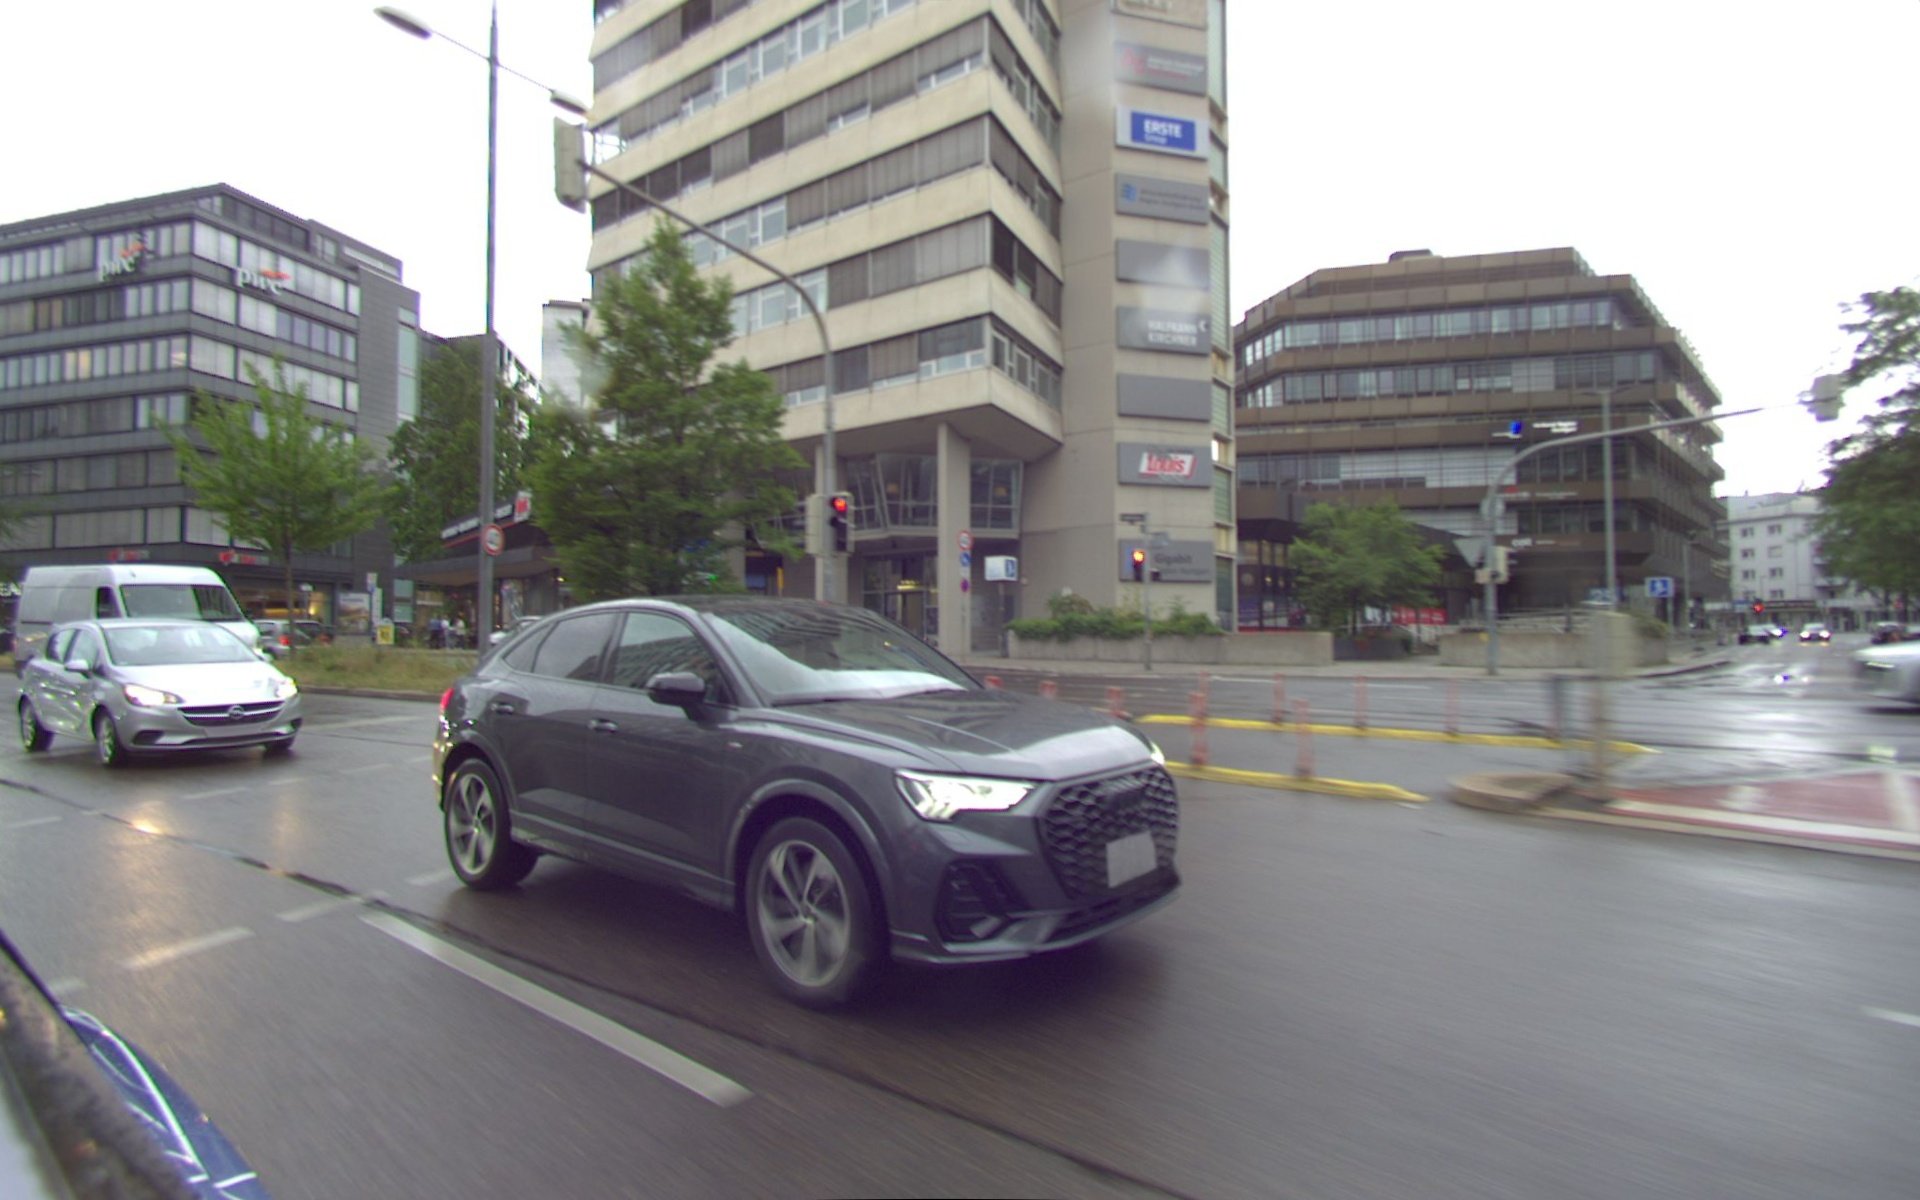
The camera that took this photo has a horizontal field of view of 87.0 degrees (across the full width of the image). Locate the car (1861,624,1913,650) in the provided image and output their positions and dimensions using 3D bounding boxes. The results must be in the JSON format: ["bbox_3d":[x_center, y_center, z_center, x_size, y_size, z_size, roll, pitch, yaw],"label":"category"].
[{"bbox_3d":[60.131,2.398,65.723,1.785,1.608,3.846,-1,-1,32],"label":"car"}]

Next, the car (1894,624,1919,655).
[{"bbox_3d":[53.797,2.193,56.988,1.703,1.662,3.853,0,-1,42],"label":"car"}]

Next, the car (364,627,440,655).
[{"bbox_3d":[-33.252,2.446,60.408,1.834,1.597,3.743,-1,-1,17],"label":"car"}]

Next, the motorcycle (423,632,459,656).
[{"bbox_3d":[-27.025,2.296,52.688,1.641,1.242,0.361,0,-1,-20],"label":"motorcycle"}]

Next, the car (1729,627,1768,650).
[{"bbox_3d":[58.350,2.826,74.851,3.941,1.641,1.784,1,-1,-45],"label":"car"}]

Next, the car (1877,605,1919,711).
[{"bbox_3d":[16.193,0.794,13.870,5.189,1.521,1.796,-2,-3,38],"label":"car"}]

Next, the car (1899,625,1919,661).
[{"bbox_3d":[42.281,1.866,44.185,1.694,1.483,3.946,0,-1,40],"label":"car"}]

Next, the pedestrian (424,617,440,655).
[{"bbox_3d":[-25.270,1.715,48.422,0.404,1.785,0.549,-1,-2,39],"label":"pedestrian"}]

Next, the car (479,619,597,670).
[{"bbox_3d":[-14.281,1.468,34.257,3.697,1.583,1.630,0,-1,25],"label":"car"}]

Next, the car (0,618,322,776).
[{"bbox_3d":[-8.845,0.936,11.125,3.863,1.447,1.635,-1,-1,33],"label":"car"}]

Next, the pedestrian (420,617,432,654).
[{"bbox_3d":[-25.911,1.720,49.115,0.437,1.785,0.324,-1,-2,38],"label":"pedestrian"}]

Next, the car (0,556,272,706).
[{"bbox_3d":[-15.322,0.548,18.762,5.453,2.459,1.934,-1,-1,28],"label":"car"}]

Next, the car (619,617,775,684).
[{"bbox_3d":[-6.800,1.252,26.040,4.075,1.593,1.630,-1,-2,34],"label":"car"}]

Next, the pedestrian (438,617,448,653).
[{"bbox_3d":[-25.617,1.731,50.160,0.357,1.785,0.324,-1,-2,39],"label":"pedestrian"}]

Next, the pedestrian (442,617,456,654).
[{"bbox_3d":[-24.715,1.724,48.936,0.469,1.785,0.423,-1,-2,39],"label":"pedestrian"}]

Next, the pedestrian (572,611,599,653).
[{"bbox_3d":[-15.076,1.287,40.751,0.755,1.696,0.677,0,-2,9],"label":"pedestrian"}]

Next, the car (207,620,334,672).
[{"bbox_3d":[-20.660,1.336,30.291,3.854,1.396,1.678,0,-1,31],"label":"car"}]

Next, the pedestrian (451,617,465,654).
[{"bbox_3d":[-24.562,1.731,49.501,0.469,1.785,0.423,-1,-2,39],"label":"pedestrian"}]

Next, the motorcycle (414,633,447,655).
[{"bbox_3d":[-28.899,2.408,55.248,1.598,1.153,0.361,1,-2,-29],"label":"motorcycle"}]

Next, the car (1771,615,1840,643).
[{"bbox_3d":[64.826,2.218,77.636,3.998,2.029,1.973,0,-1,41],"label":"car"}]

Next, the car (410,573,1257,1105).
[{"bbox_3d":[-0.926,0.726,4.933,4.267,1.533,1.631,-1,-1,40],"label":"car"}]

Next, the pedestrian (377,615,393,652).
[{"bbox_3d":[-28.054,1.648,49.368,0.549,1.785,0.530,-1,-2,39],"label":"pedestrian"}]
